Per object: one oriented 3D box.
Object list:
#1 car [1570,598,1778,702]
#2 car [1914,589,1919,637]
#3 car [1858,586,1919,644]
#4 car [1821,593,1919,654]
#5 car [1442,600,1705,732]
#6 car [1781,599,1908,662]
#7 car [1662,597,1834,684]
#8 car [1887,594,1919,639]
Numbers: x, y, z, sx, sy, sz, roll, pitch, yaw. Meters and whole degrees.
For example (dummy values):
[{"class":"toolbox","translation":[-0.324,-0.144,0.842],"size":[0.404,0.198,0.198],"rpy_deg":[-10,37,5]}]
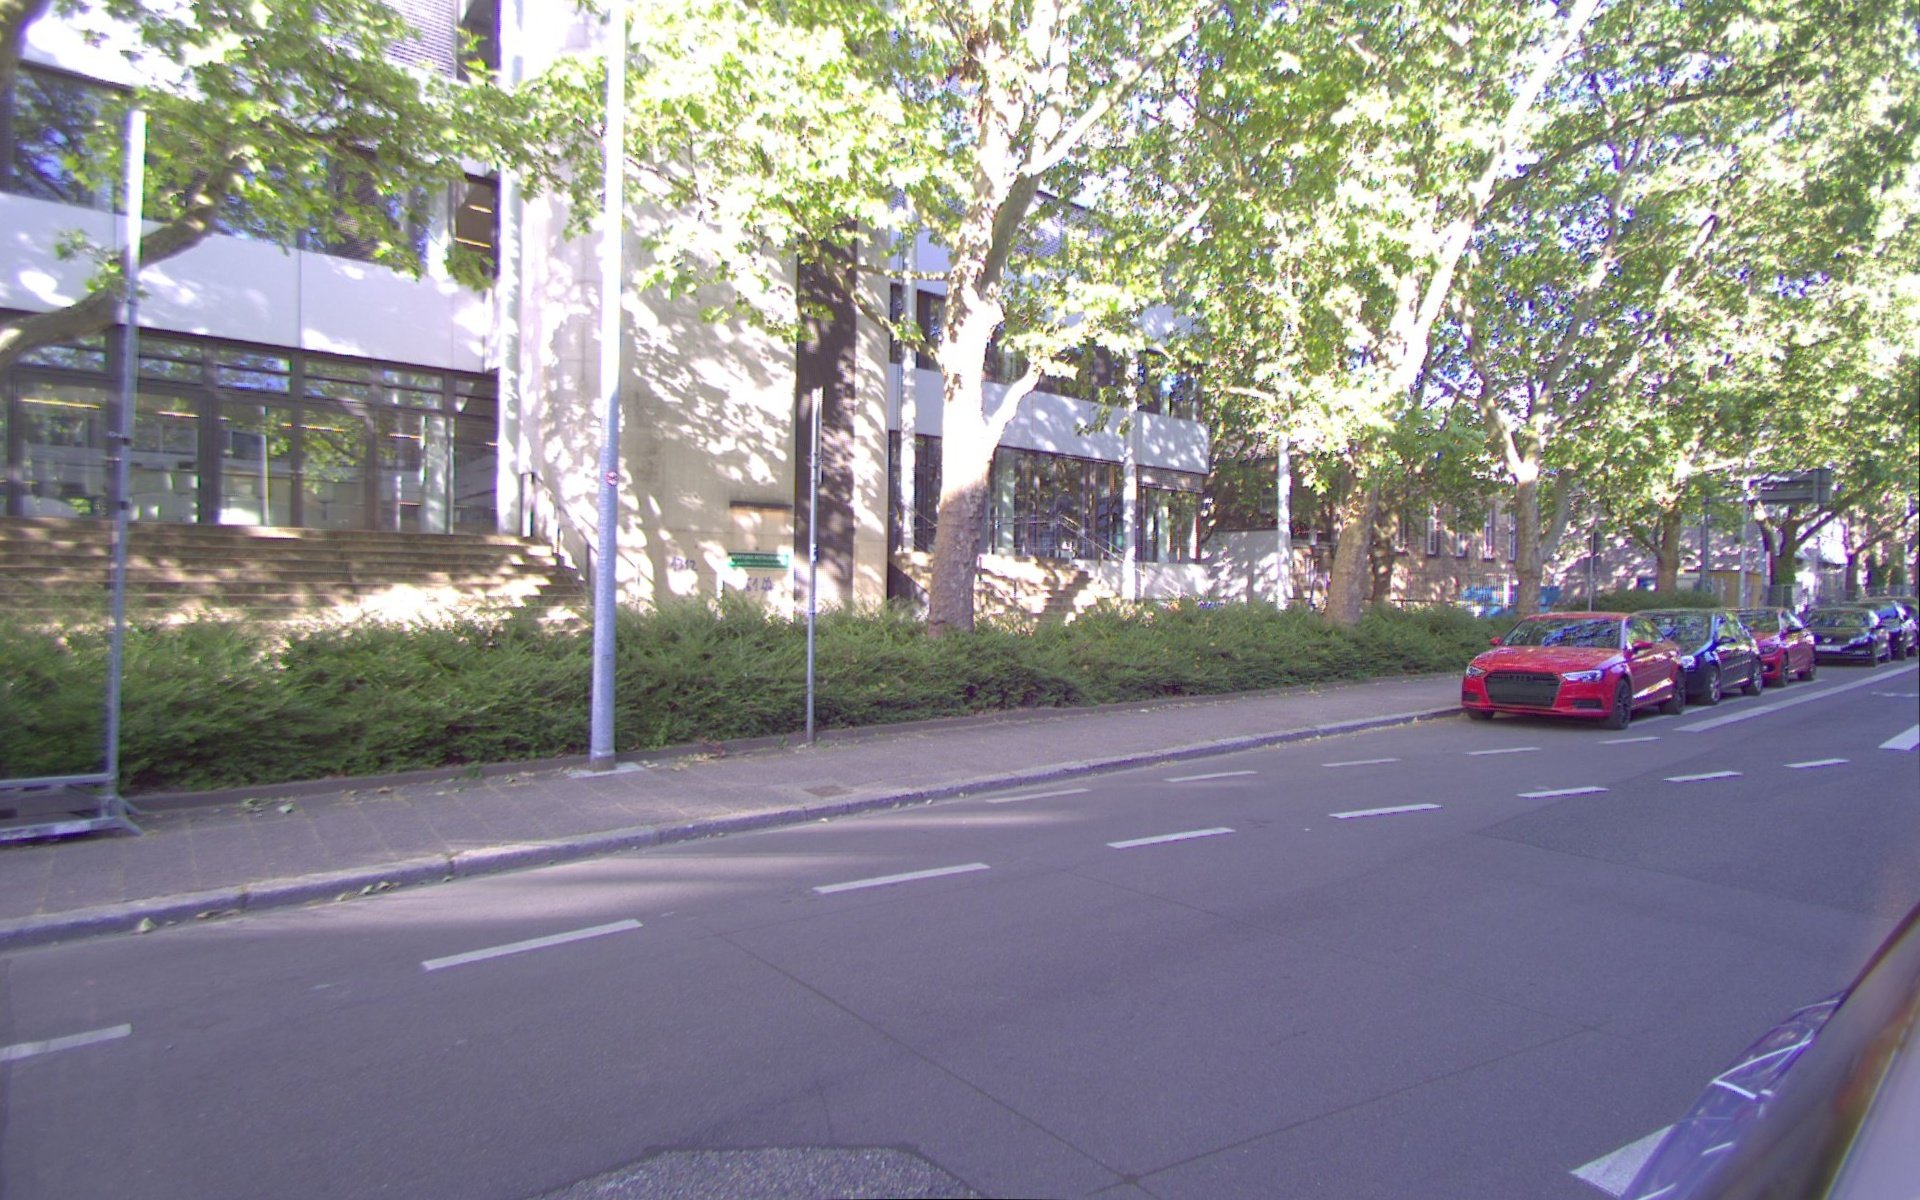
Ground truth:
[{"class":"car","translation":[11.792,0.727,16.649],"size":[3.581,1.478,1.997],"rpy_deg":[-1,0,-41]},{"class":"car","translation":[39.639,0.483,40.310],"size":[3.930,1.872,1.997],"rpy_deg":[-1,0,-41]},{"class":"car","translation":[31.274,0.448,33.307],"size":[4.493,1.809,1.997],"rpy_deg":[-1,0,-41]},{"class":"car","translation":[26.534,0.607,29.177],"size":[4.070,1.621,1.997],"rpy_deg":[-1,0,-41]},{"class":"car","translation":[8.267,0.750,13.520],"size":[3.930,1.443,1.906],"rpy_deg":[-1,0,-41]},{"class":"car","translation":[22.810,0.722,26.057],"size":[3.527,1.474,1.997],"rpy_deg":[-1,0,-41]},{"class":"car","translation":[15.656,0.716,20.047],"size":[3.762,1.517,1.997],"rpy_deg":[-1,0,-41]},{"class":"car","translation":[35.971,0.573,37.442],"size":[4.070,1.585,1.997],"rpy_deg":[-1,0,-41]}]
